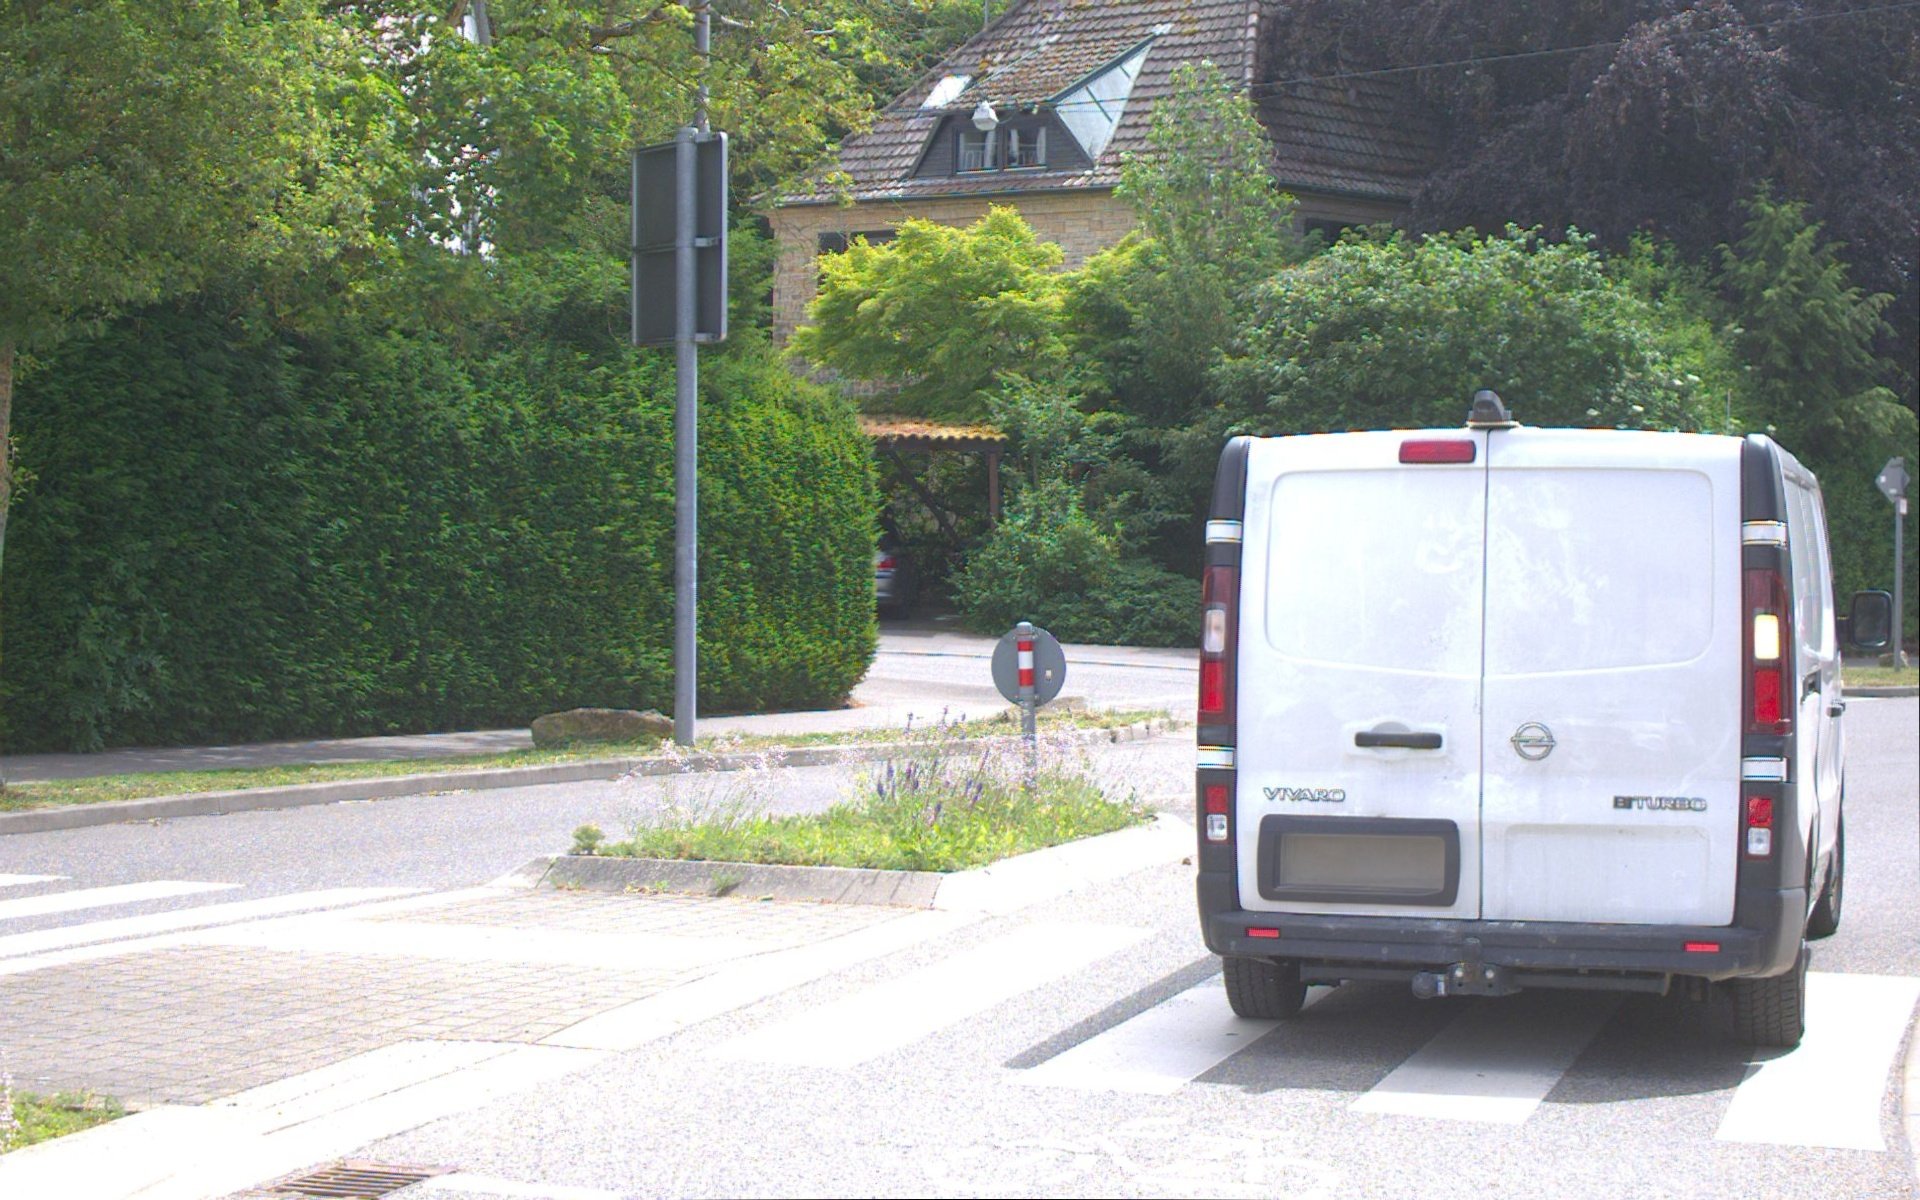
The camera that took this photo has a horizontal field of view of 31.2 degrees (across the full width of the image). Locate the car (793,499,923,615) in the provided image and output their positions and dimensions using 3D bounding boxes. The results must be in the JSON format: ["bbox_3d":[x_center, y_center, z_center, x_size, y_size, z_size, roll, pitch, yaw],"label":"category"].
[{"bbox_3d":[-1.421,-0.643,48.860,1.723,1.504,4.001,2,2,-1],"label":"car"}]

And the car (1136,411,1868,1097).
[{"bbox_3d":[2.178,0.409,12.455,1.940,1.954,4.829,1,1,17],"label":"car"}]
